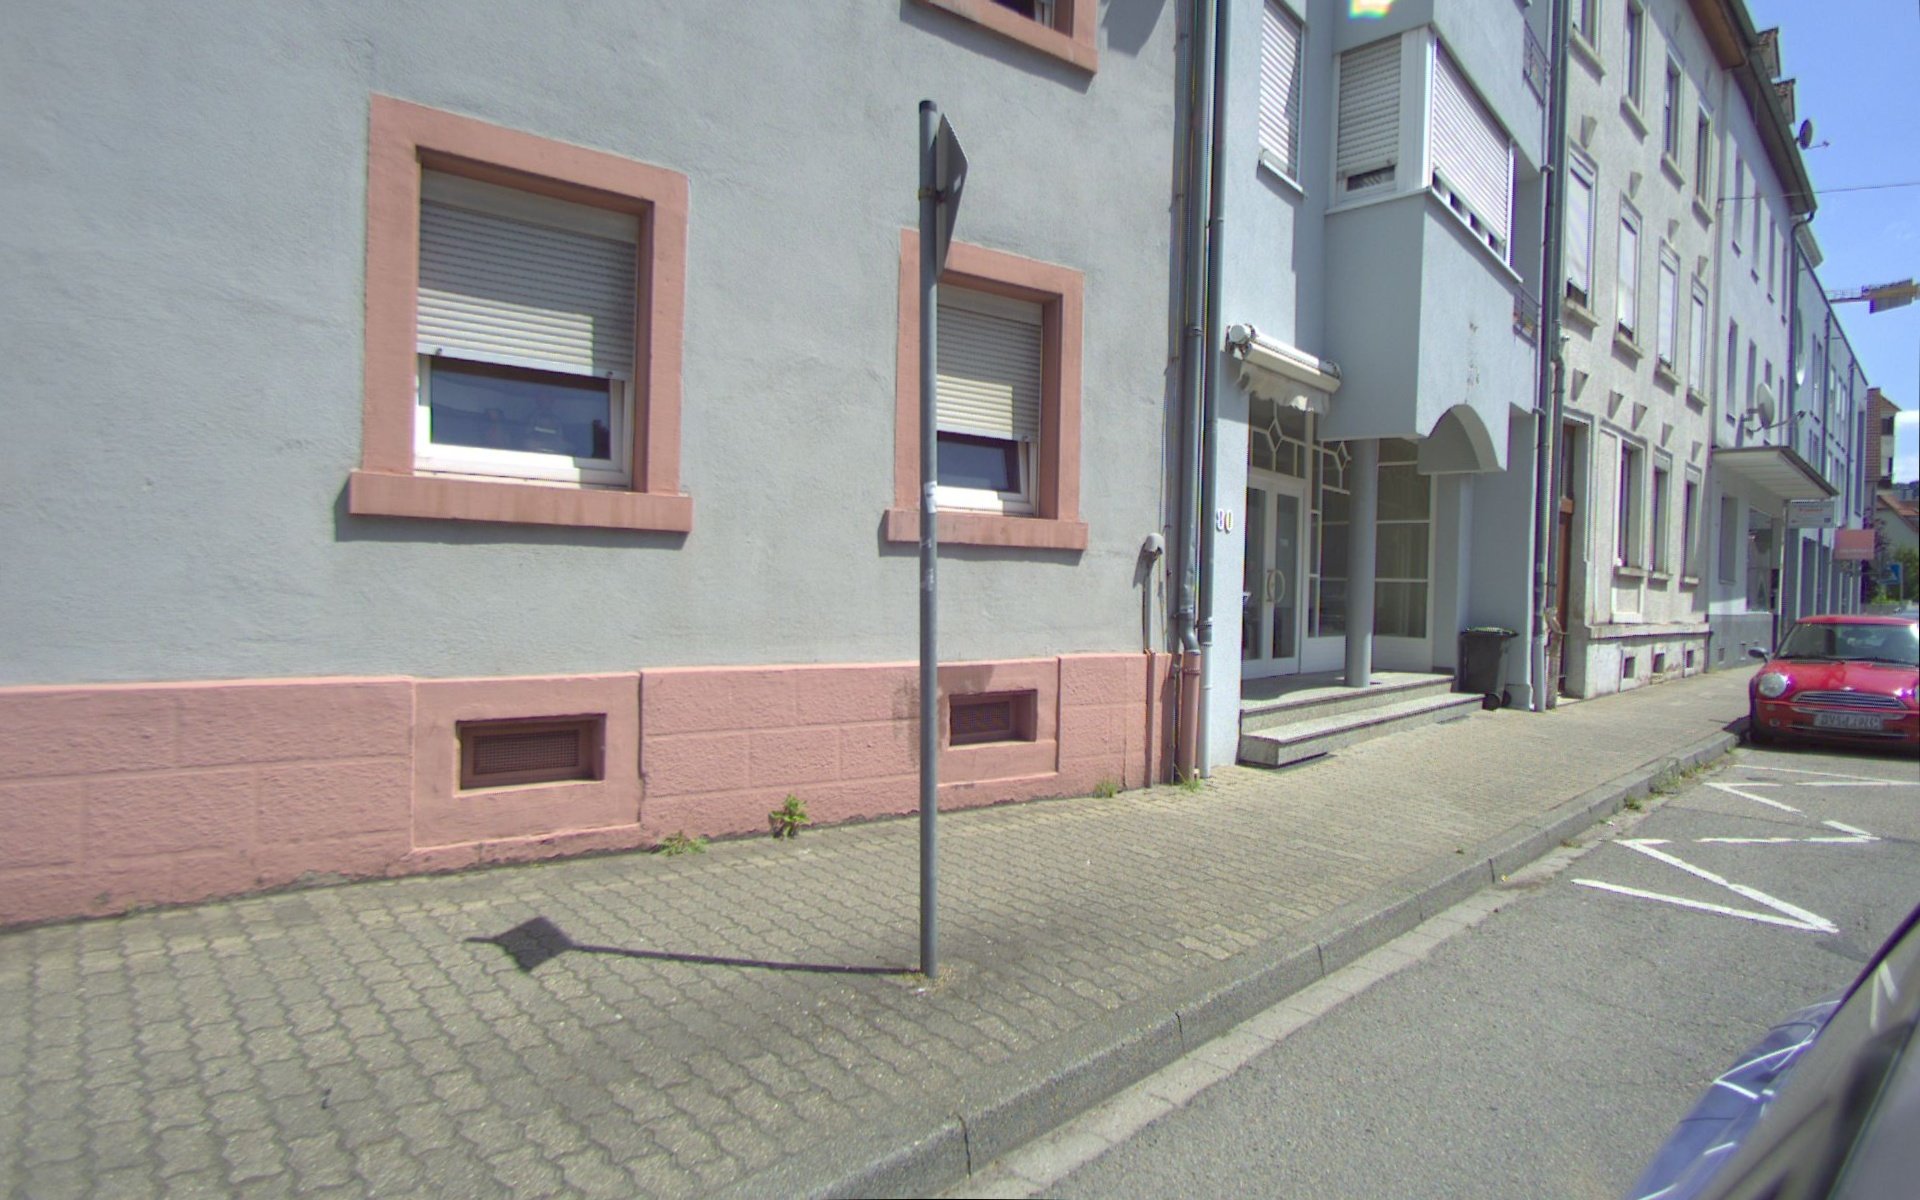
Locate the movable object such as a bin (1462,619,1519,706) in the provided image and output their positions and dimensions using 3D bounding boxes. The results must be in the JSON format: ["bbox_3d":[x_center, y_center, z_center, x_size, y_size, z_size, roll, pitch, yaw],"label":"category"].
[{"bbox_3d":[6.195,0.714,11.825,0.472,0.946,0.481,3,2,39],"label":"movable object such as a bin"}]

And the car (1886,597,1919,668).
[{"bbox_3d":[22.399,0.716,23.012,3.933,1.527,1.711,0,2,-44],"label":"car"}]

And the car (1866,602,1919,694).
[{"bbox_3d":[17.186,0.794,17.739,1.730,1.438,4.472,2,2,44],"label":"car"}]

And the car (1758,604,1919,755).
[{"bbox_3d":[10.126,0.770,11.221,1.619,1.403,3.481,2,1,45],"label":"car"}]
